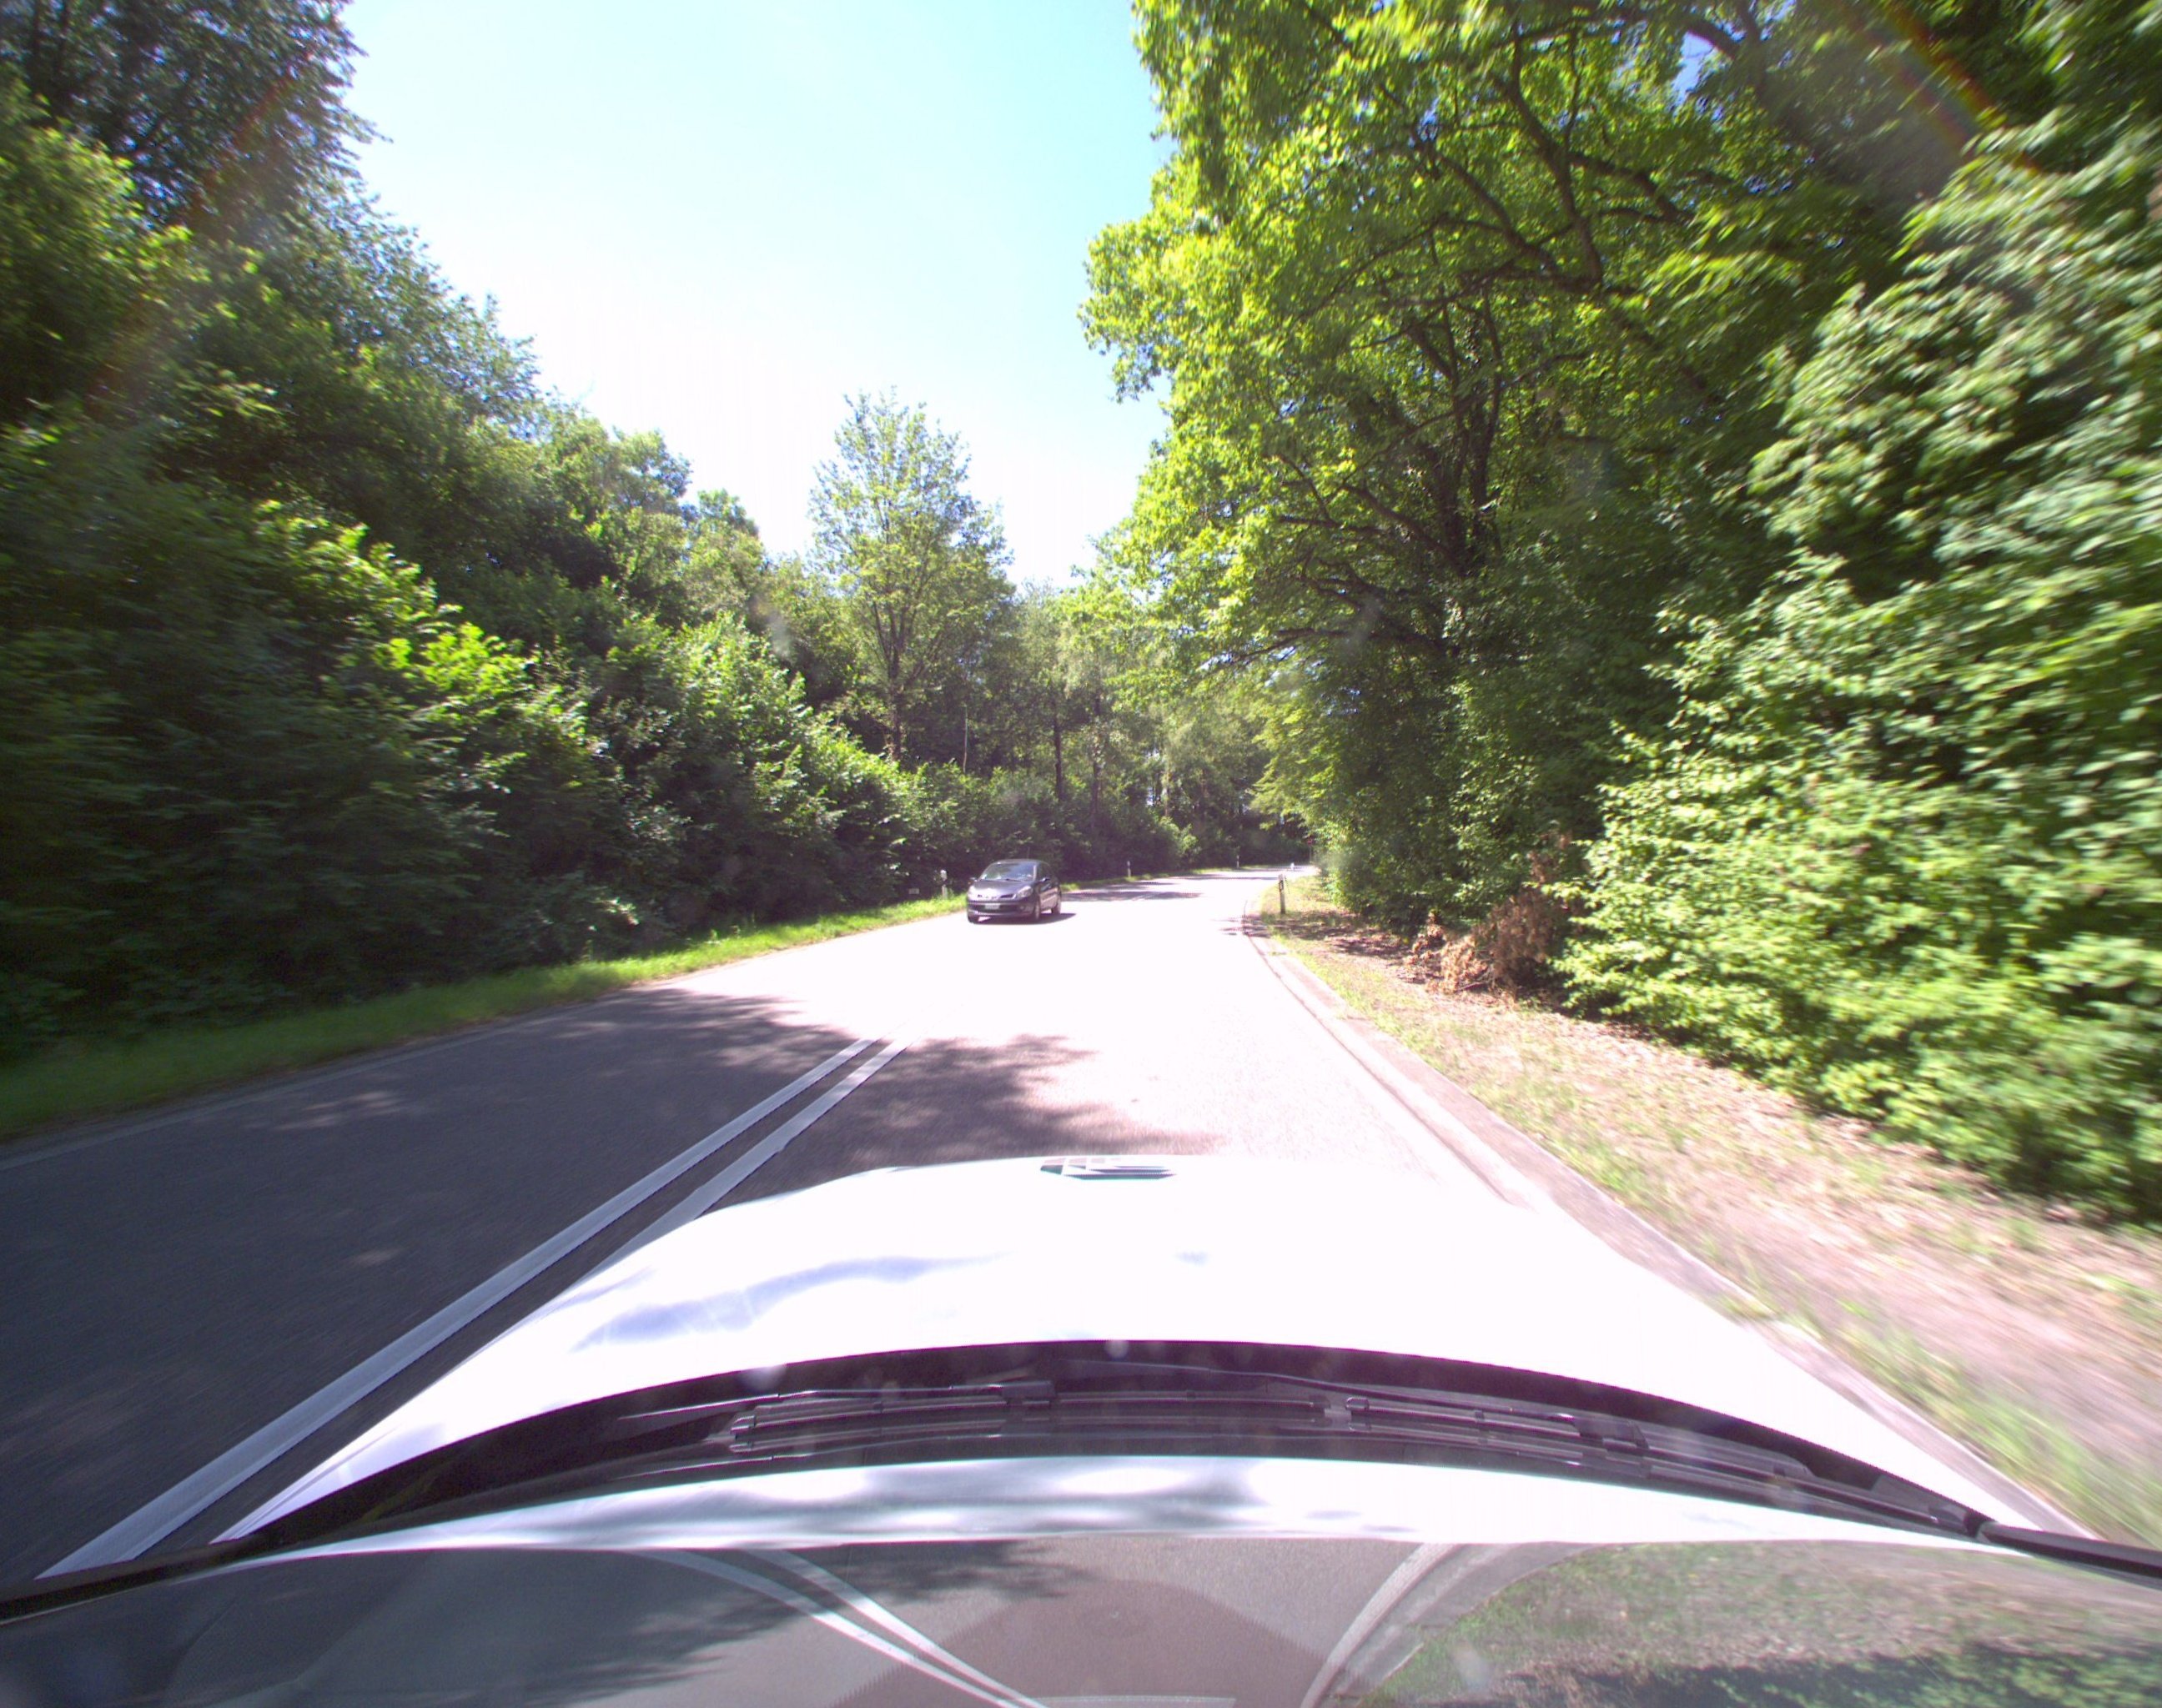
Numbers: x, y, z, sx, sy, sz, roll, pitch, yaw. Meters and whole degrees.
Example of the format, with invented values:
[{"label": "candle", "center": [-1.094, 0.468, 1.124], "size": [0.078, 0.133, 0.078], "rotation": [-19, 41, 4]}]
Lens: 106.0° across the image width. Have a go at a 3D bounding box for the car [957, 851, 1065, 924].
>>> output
[{"label": "car", "center": [-1.623, 0.783, 20.200], "size": [1.667, 1.574, 3.905], "rotation": [-3, -1, 9]}]
